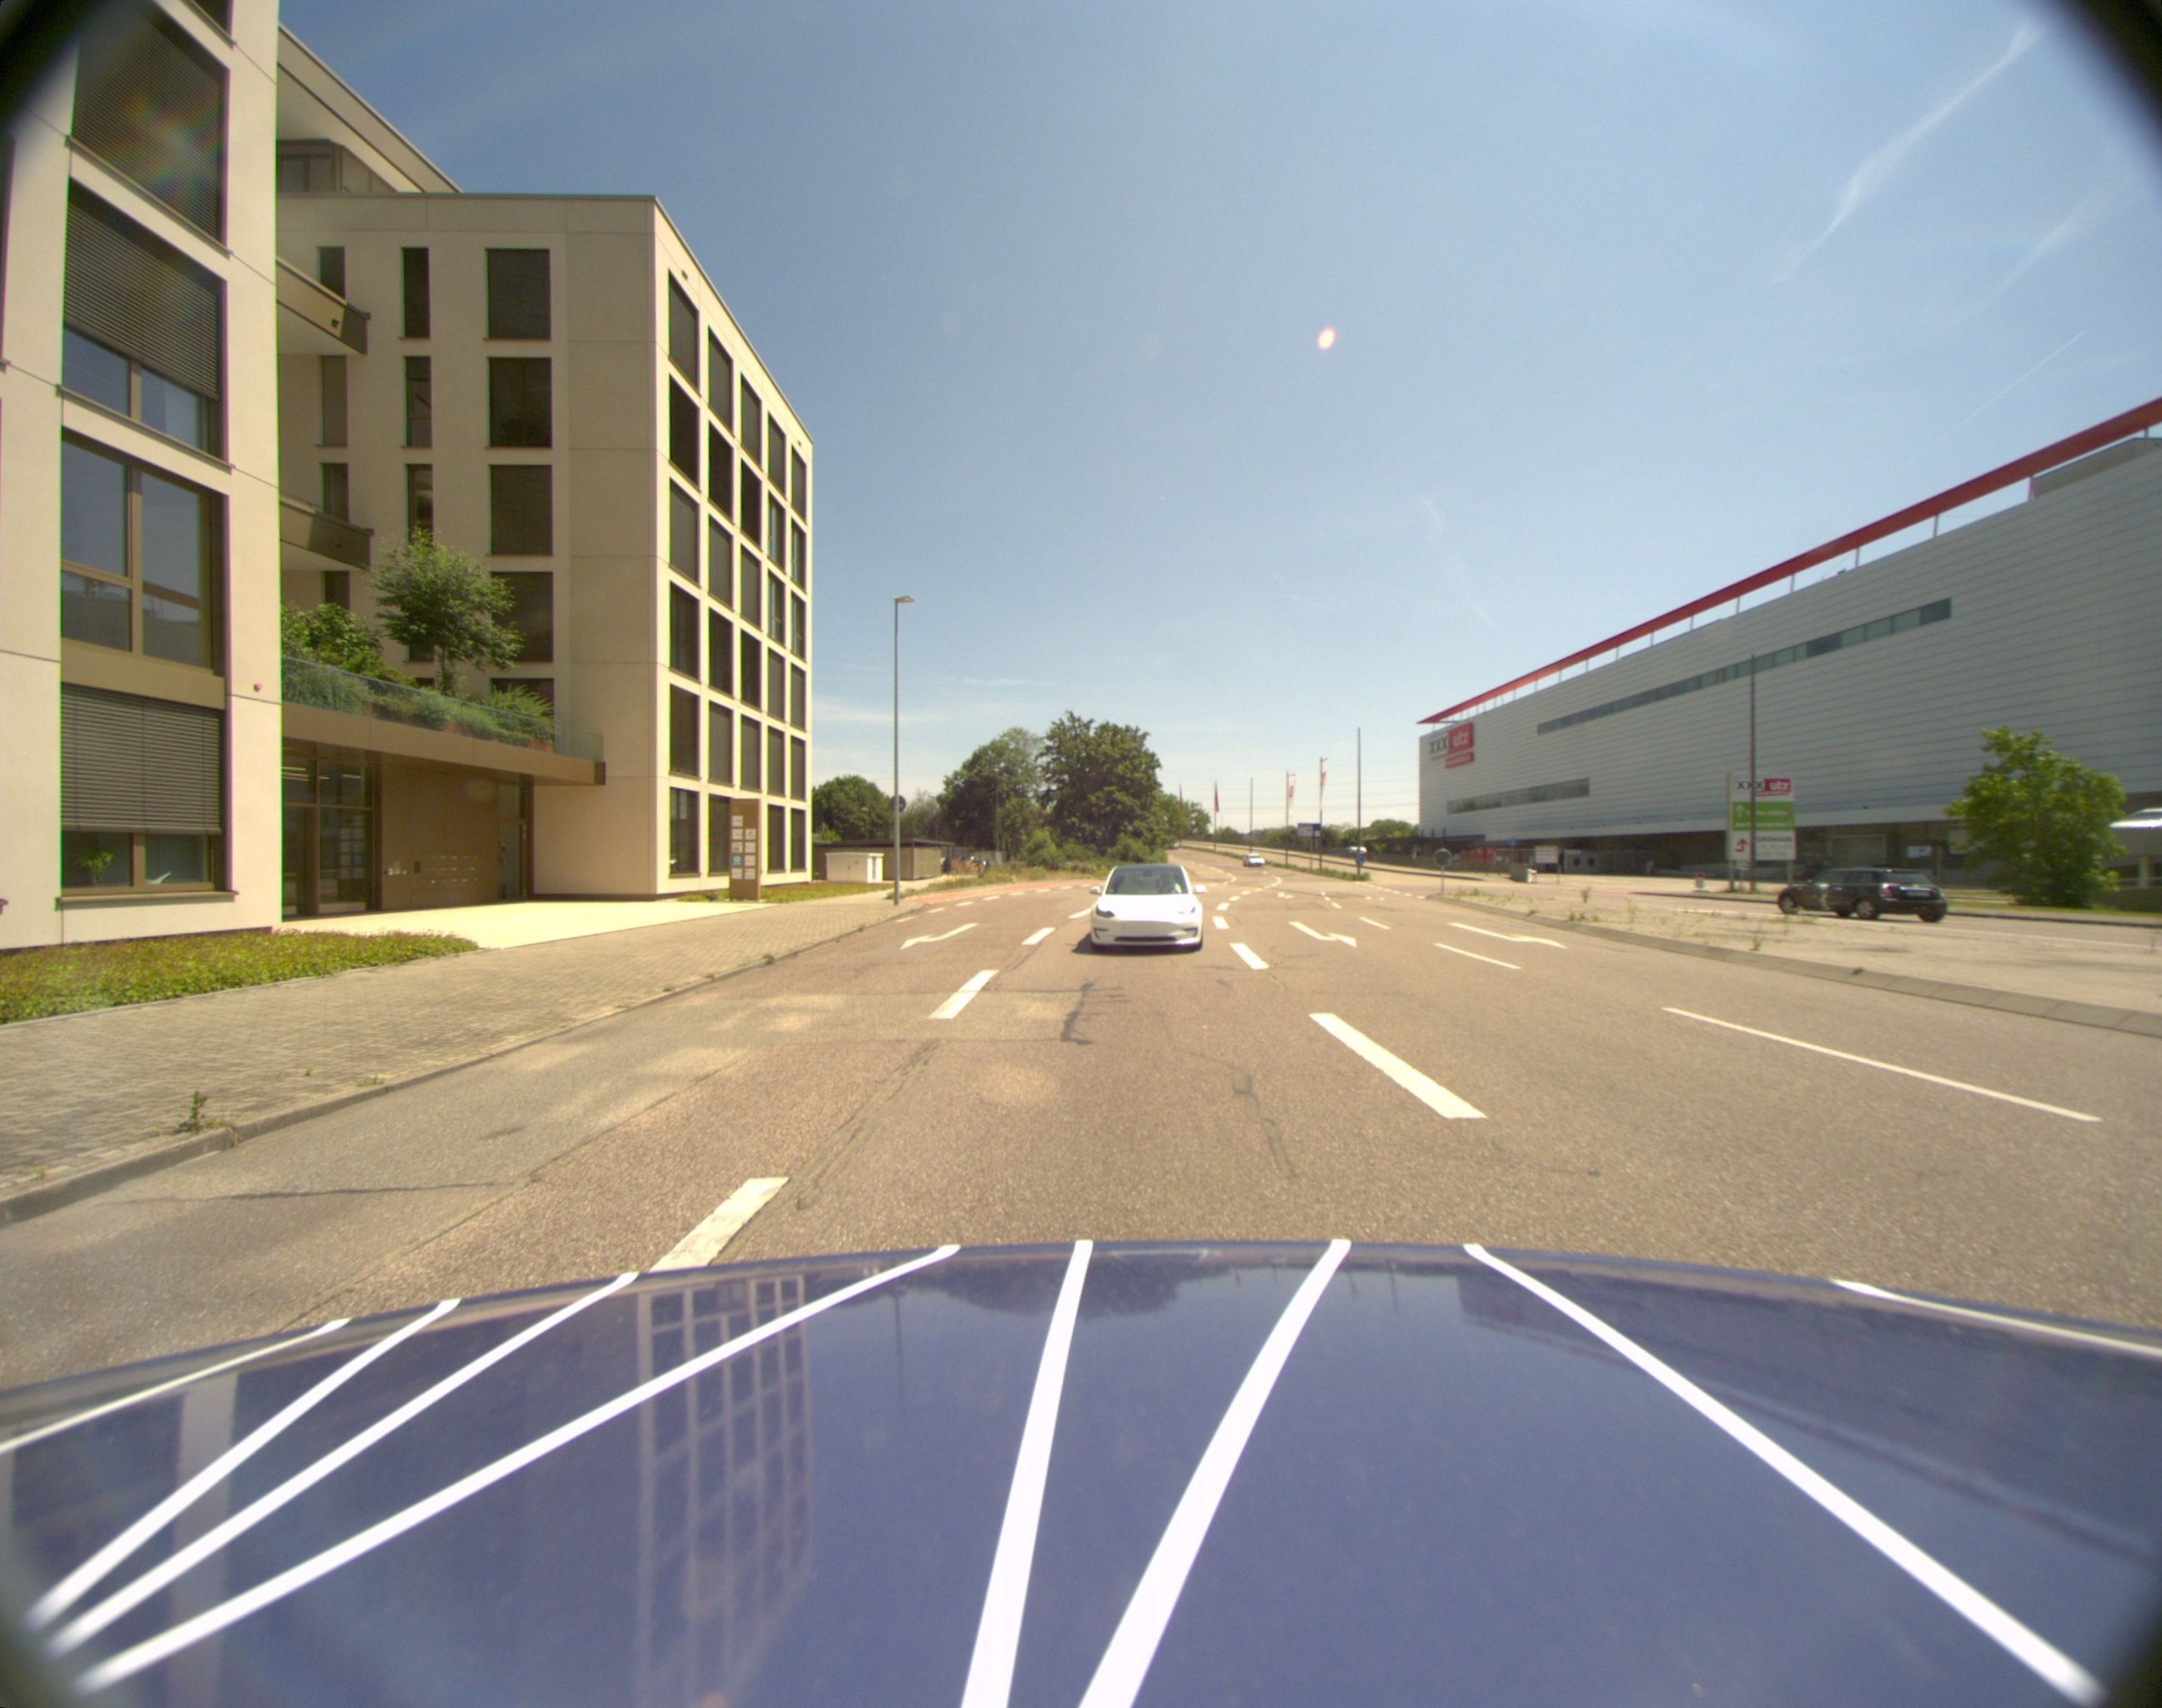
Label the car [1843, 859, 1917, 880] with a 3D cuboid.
[{"bbox_3d":[59.967,1.170,57.085,3.482,1.486,1.959,0,0,1],"label":"car"}]

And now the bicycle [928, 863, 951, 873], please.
[{"bbox_3d":[-12.311,1.217,65.996,1.863,0.859,0.583,0,1,-1],"label":"bicycle"}]

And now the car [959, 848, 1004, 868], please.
[{"bbox_3d":[-9.948,0.375,75.911,4.005,1.941,1.996,0,0,-25],"label":"car"}]

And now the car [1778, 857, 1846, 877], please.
[{"bbox_3d":[59.794,1.065,62.196,3.747,1.610,1.912,0,1,0],"label":"car"}]

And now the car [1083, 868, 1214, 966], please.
[{"bbox_3d":[1.046,1.005,13.808,1.880,1.417,4.405,-1,0,-1],"label":"car"}]

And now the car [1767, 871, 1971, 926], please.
[{"bbox_3d":[21.755,1.184,21.236,1.859,1.295,3.895,1,0,6],"label":"car"}]

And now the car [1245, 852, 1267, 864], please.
[{"bbox_3d":[21.353,0.465,92.848,1.735,1.441,4.230,0,0,-1],"label":"car"}]

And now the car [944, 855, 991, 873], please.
[{"bbox_3d":[-10.731,0.921,71.885,4.005,1.652,1.835,0,1,-24],"label":"car"}]

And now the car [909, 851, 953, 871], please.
[{"bbox_3d":[-15.177,0.695,76.963,4.005,2.002,1.996,0,0,-25],"label":"car"}]
